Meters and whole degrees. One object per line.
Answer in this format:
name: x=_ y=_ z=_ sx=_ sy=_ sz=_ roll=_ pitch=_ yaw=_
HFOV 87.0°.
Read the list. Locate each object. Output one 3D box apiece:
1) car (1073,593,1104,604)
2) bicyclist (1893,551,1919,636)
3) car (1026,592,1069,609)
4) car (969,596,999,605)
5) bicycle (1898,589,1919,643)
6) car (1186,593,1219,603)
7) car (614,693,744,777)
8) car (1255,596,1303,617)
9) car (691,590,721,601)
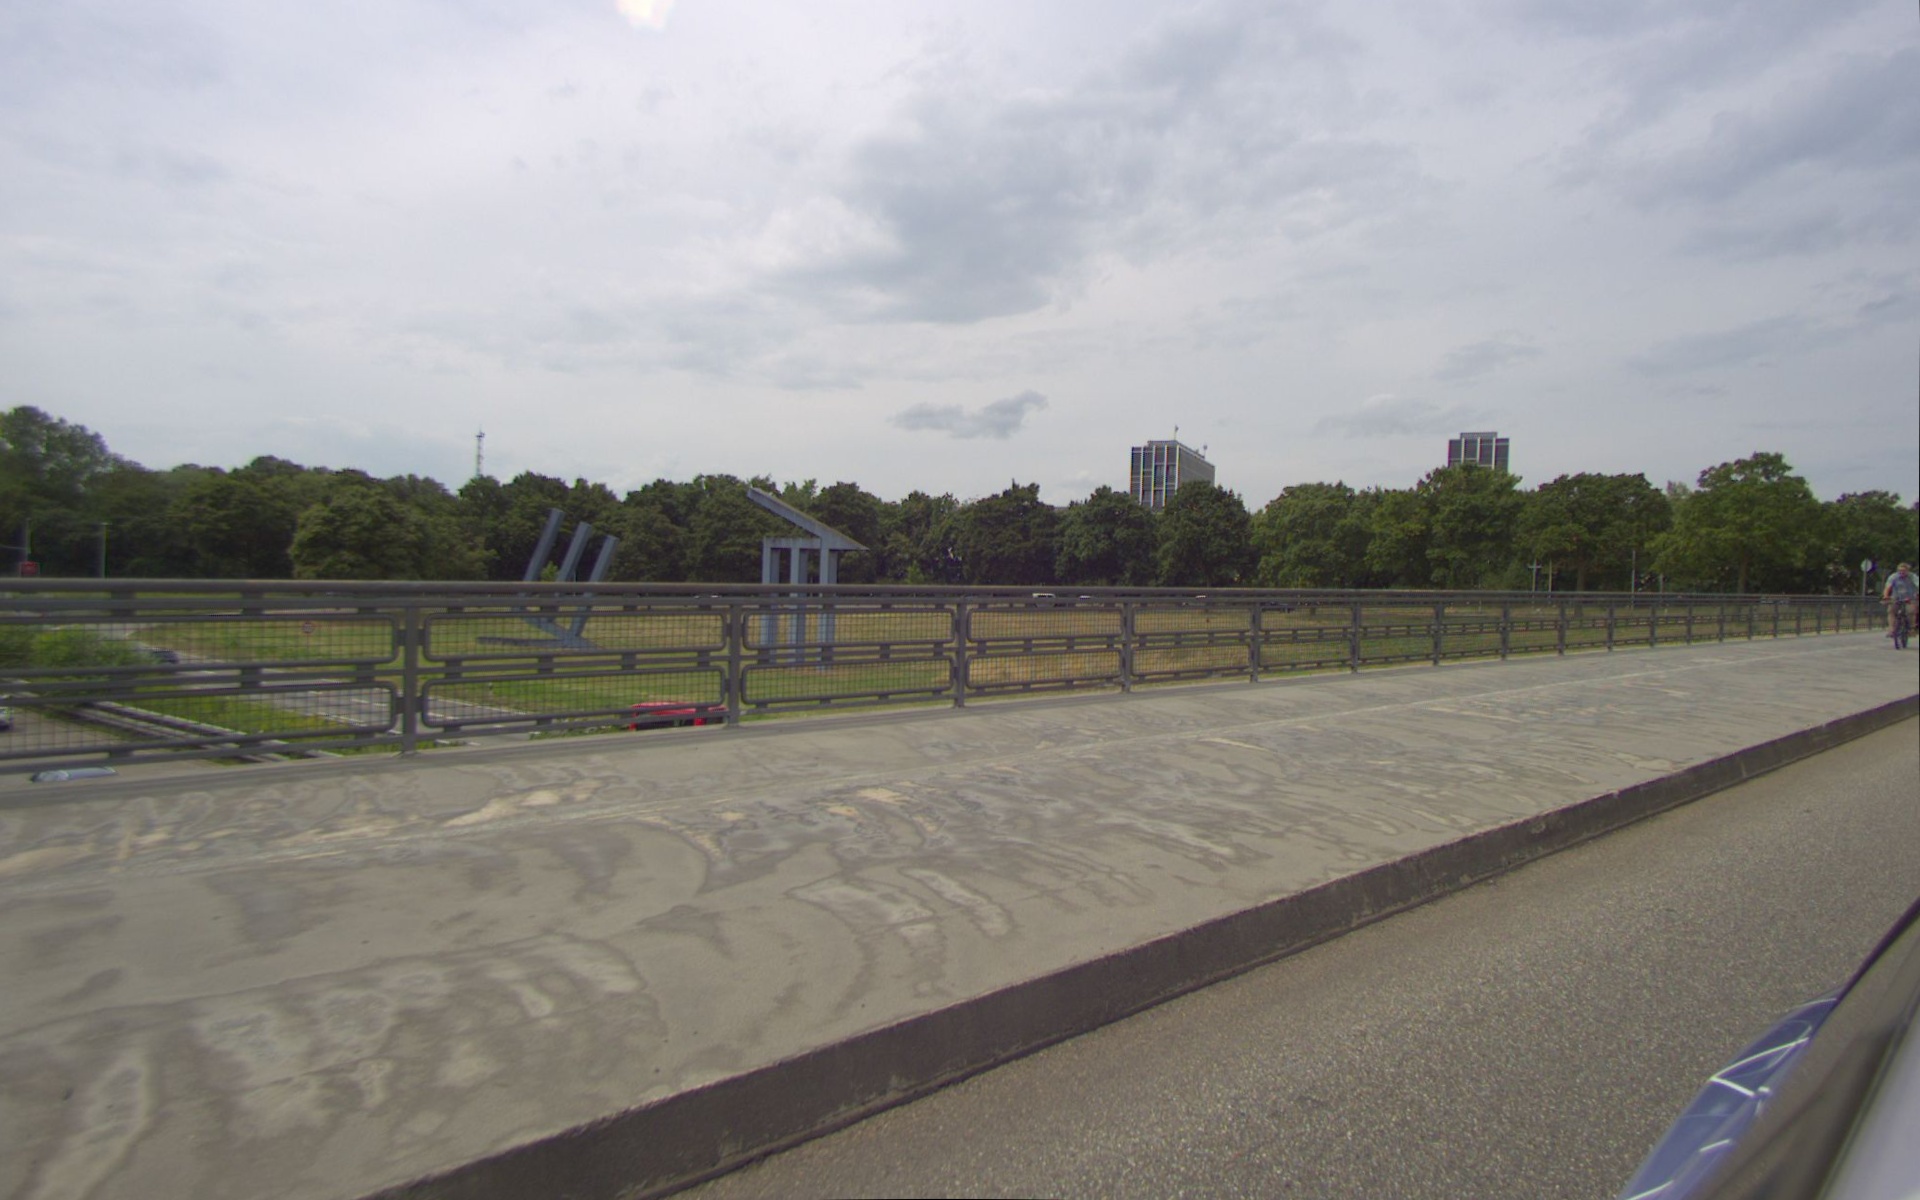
car: x=16.303 y=-0.193 z=128.542 sx=3.649 sy=1.288 sz=1.663 roll=1 pitch=0 yaw=28
bicyclist: x=21.170 y=-0.132 z=22.237 sx=0.941 sy=1.823 sz=0.871 roll=0 pitch=3 yaw=-45
car: x=10.576 y=0.056 z=122.729 sx=4.847 sy=1.825 sz=1.985 roll=2 pitch=1 yaw=23
car: x=3.180 y=0.114 z=134.706 sx=3.649 sy=1.145 sz=1.663 roll=1 pitch=0 yaw=28
bicycle: x=21.278 y=0.345 z=22.299 sx=0.813 sy=1.154 sz=1.735 roll=2 pitch=1 yaw=45
car: x=29.145 y=-0.280 z=121.599 sx=3.649 sy=1.145 sz=1.663 roll=1 pitch=0 yaw=28
car: x=-10.539 y=4.969 z=37.883 sx=4.621 sy=2.460 sz=1.979 roll=2 pitch=1 yaw=30
car: x=33.851 y=0.683 z=107.409 sx=4.457 sy=2.039 sz=1.969 roll=3 pitch=1 yaw=43
car: x=-35.564 y=-0.622 z=141.787 sx=3.918 sy=1.415 sz=2.003 roll=1 pitch=1 yaw=-8
